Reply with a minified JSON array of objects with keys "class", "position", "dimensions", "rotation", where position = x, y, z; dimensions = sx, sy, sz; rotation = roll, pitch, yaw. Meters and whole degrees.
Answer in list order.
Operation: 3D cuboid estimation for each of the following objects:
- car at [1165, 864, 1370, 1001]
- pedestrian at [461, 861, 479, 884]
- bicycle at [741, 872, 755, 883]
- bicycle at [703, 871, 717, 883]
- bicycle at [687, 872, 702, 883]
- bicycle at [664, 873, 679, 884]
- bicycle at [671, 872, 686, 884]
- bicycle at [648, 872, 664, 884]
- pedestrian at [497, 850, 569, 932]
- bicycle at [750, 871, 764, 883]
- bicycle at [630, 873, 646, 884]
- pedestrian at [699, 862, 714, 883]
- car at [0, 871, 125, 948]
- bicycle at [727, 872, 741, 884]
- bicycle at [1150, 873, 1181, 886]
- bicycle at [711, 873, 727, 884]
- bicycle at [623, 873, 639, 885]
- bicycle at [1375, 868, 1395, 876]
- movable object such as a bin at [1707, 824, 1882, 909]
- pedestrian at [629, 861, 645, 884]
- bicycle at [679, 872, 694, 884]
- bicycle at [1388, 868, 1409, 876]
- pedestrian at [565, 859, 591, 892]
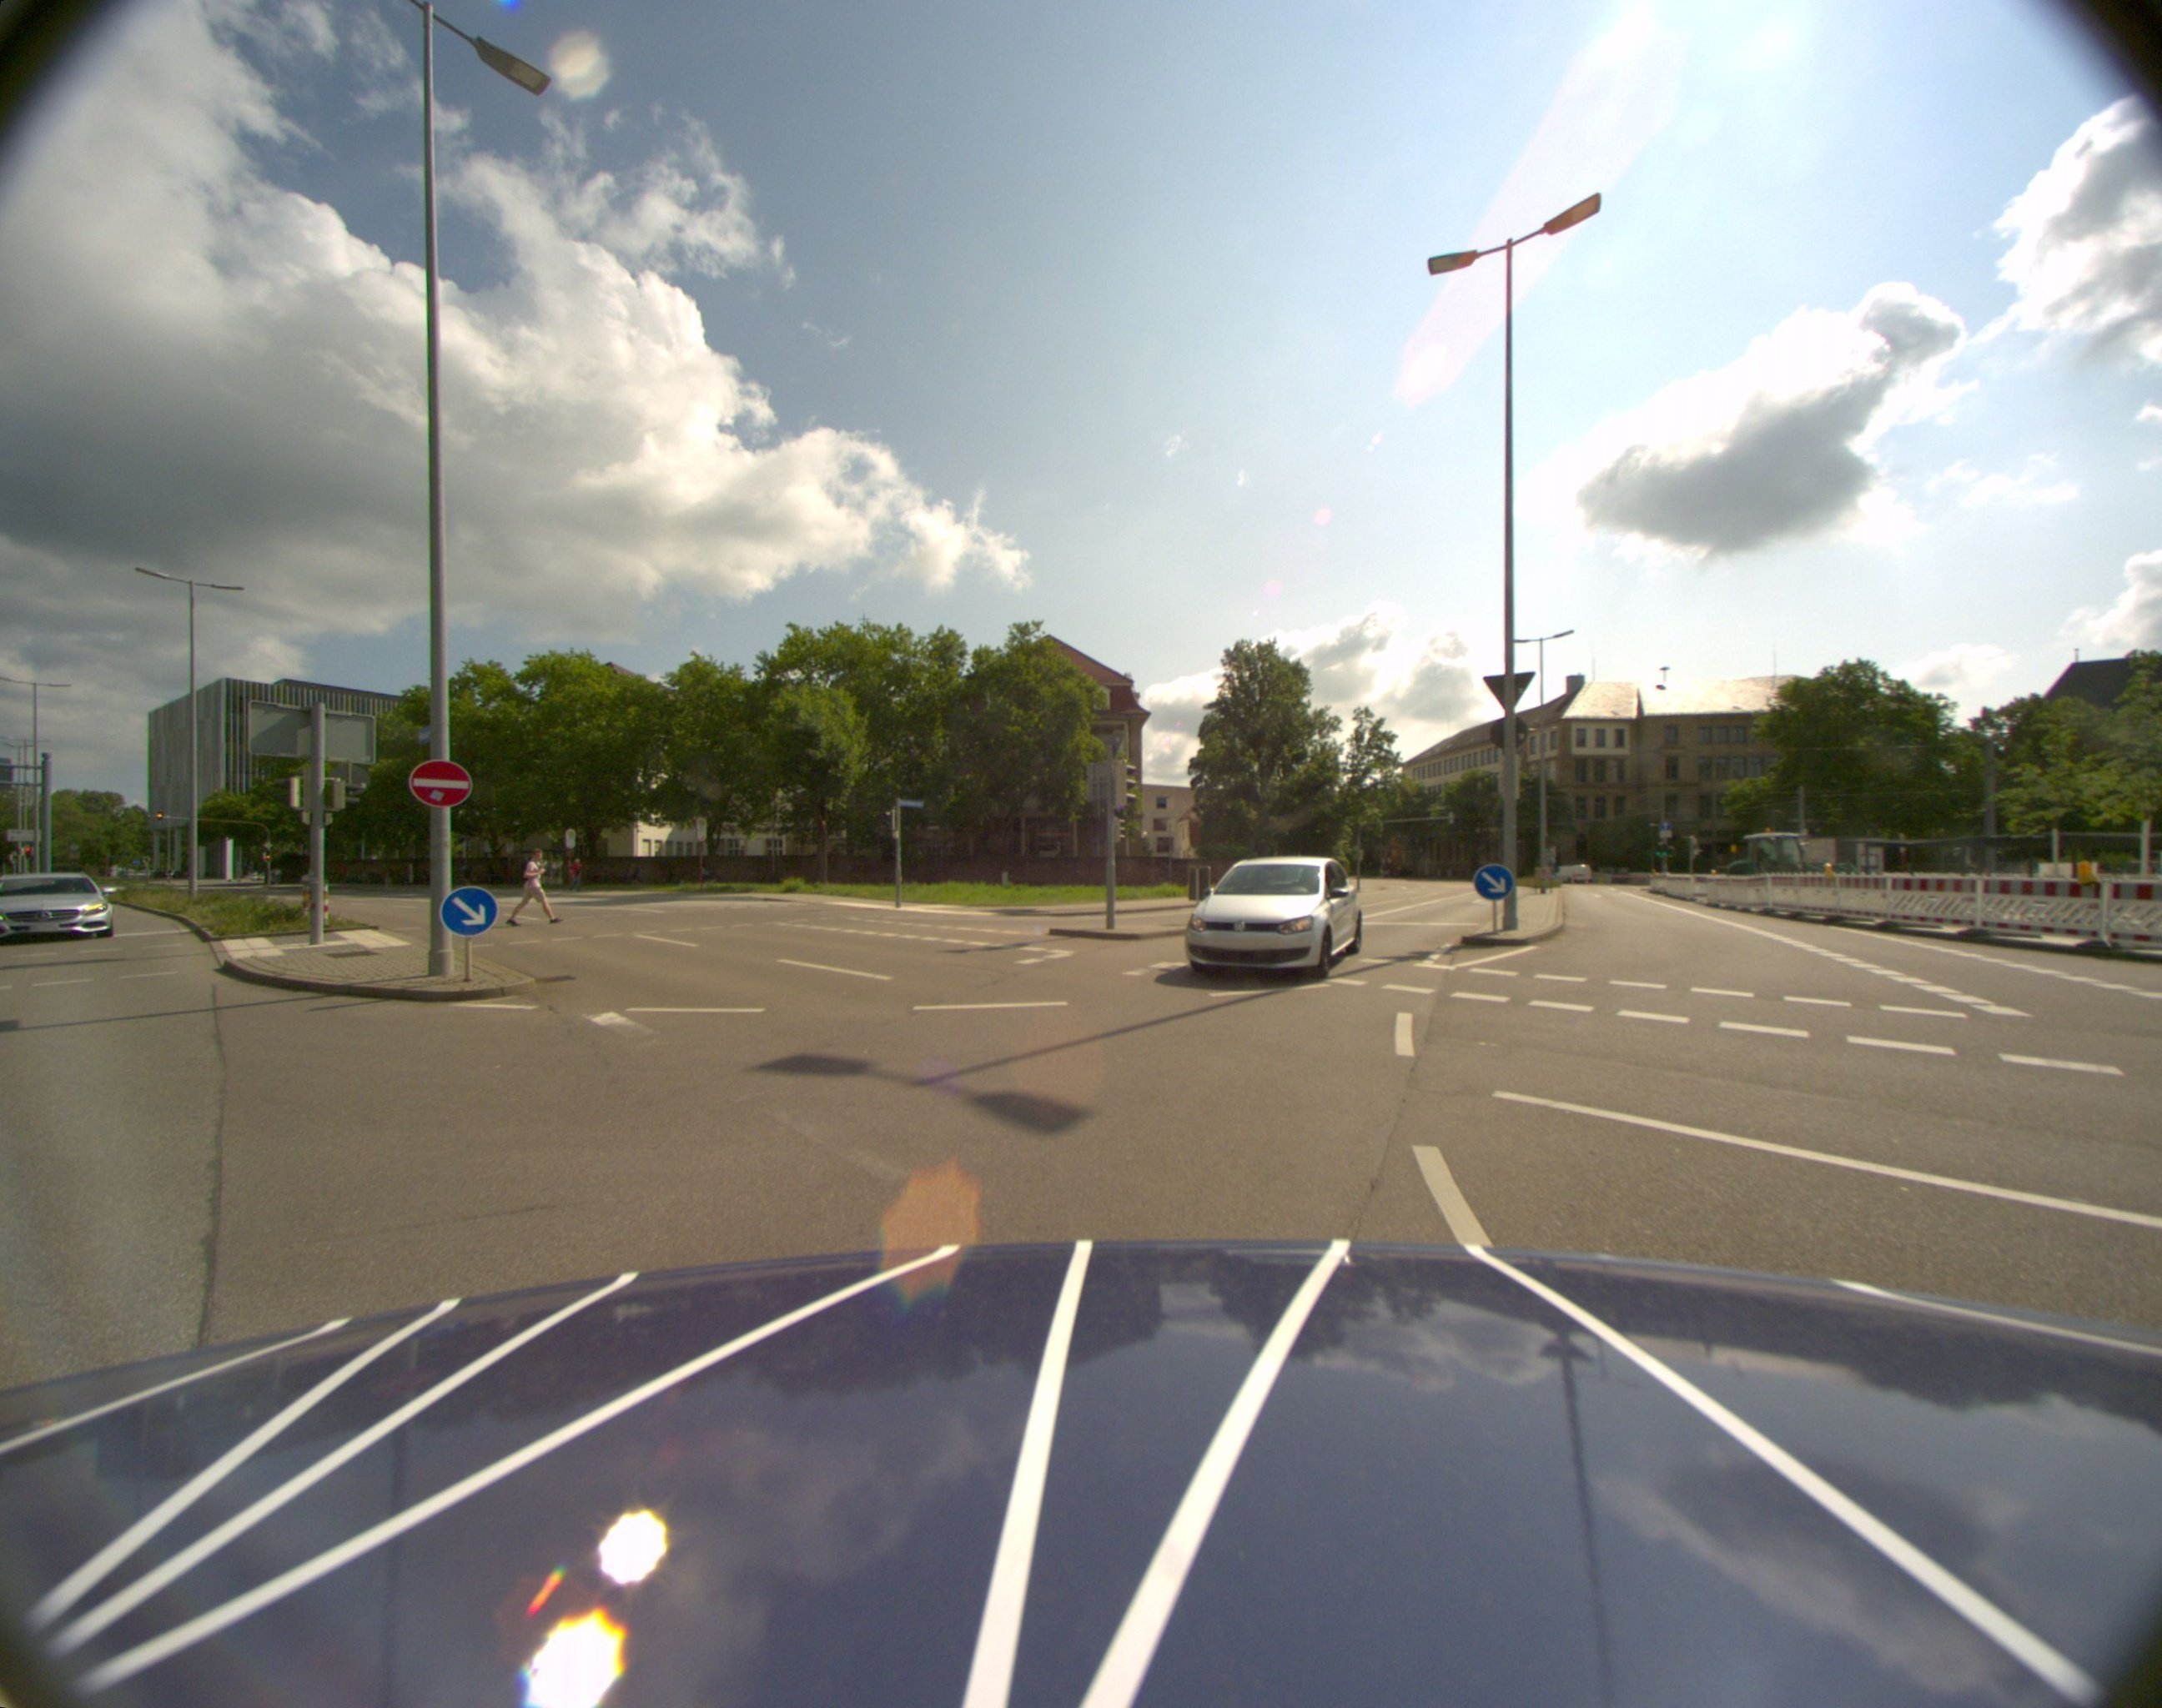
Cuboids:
[{"class":"car","position":[2.682,0.857,10.186],"dimensions":[1.652,1.433,4.013],"rotation":[0,0,29]},{"class":"pedestrian","position":[-48.403,1.431,60.175],"dimensions":[0.768,1.770,0.888],"rotation":[0,2,33]},{"class":"bicycle","position":[-24.492,1.725,55.927],"dimensions":[0.482,0.843,0.974],"rotation":[0,-1,11]},{"class":"bicycle","position":[-27.623,1.716,56.591],"dimensions":[0.482,0.843,0.974],"rotation":[0,-1,11]},{"class":"bicycle","position":[-28.900,1.763,56.837],"dimensions":[0.482,0.843,0.974],"rotation":[0,-1,11]},{"class":"bicycle","position":[-30.761,1.831,57.130],"dimensions":[0.482,0.843,0.974],"rotation":[0,-1,11]},{"class":"bicycle","position":[-30.212,1.812,57.048],"dimensions":[0.482,0.843,0.974],"rotation":[0,-1,11]},{"class":"bicycle","position":[-32.096,1.814,57.377],"dimensions":[0.482,0.843,0.974],"rotation":[0,-1,11]},{"class":"pedestrian","position":[-12.986,0.867,18.023],"dimensions":[0.697,1.845,1.183],"rotation":[-4,-3,35]},{"class":"bicycle","position":[-23.809,1.682,55.878],"dimensions":[0.482,0.843,0.974],"rotation":[0,-1,11]},{"class":"bicycle","position":[-33.623,1.871,57.692],"dimensions":[0.482,0.843,0.974],"rotation":[0,-1,11]},{"class":"pedestrian","position":[-27.596,1.378,55.951],"dimensions":[0.723,1.525,0.726],"rotation":[0,0,7]},{"class":"car","position":[-23.264,1.167,17.061],"dimensions":[4.766,1.434,2.066],"rotation":[0,2,37]},{"class":"bicycle","position":[-25.671,1.750,56.217],"dimensions":[0.482,0.843,0.974],"rotation":[0,-1,11]},{"class":"bicycle","position":[6.212,1.873,55.824],"dimensions":[2.062,0.856,0.857],"rotation":[1,1,-14]},{"class":"bicycle","position":[-26.827,1.803,56.358],"dimensions":[0.499,0.843,1.075],"rotation":[0,0,11]},{"class":"bicycle","position":[-34.196,1.891,57.770],"dimensions":[0.482,0.843,0.974],"rotation":[0,-1,11]},{"class":"bicycle","position":[50.045,2.938,124.983],"dimensions":[2.887,1.200,1.075],"rotation":[0,2,40]},{"class":"movable object such as a bin","position":[26.587,0.461,28.553],"dimensions":[2.000,2.932,4.447],"rotation":[1,-1,-11]},{"class":"pedestrian","position":[-32.565,1.338,55.672],"dimensions":[0.741,1.712,0.664],"rotation":[1,0,13]},{"class":"bicycle","position":[-29.569,1.788,56.947],"dimensions":[0.482,0.843,0.974],"rotation":[0,-1,11]},{"class":"bicycle","position":[50.868,2.822,121.872],"dimensions":[2.887,1.200,1.052],"rotation":[0,2,40]},{"class":"pedestrian","position":[-27.619,1.161,41.724],"dimensions":[0.963,1.769,0.751],"rotation":[0,1,23]}]
